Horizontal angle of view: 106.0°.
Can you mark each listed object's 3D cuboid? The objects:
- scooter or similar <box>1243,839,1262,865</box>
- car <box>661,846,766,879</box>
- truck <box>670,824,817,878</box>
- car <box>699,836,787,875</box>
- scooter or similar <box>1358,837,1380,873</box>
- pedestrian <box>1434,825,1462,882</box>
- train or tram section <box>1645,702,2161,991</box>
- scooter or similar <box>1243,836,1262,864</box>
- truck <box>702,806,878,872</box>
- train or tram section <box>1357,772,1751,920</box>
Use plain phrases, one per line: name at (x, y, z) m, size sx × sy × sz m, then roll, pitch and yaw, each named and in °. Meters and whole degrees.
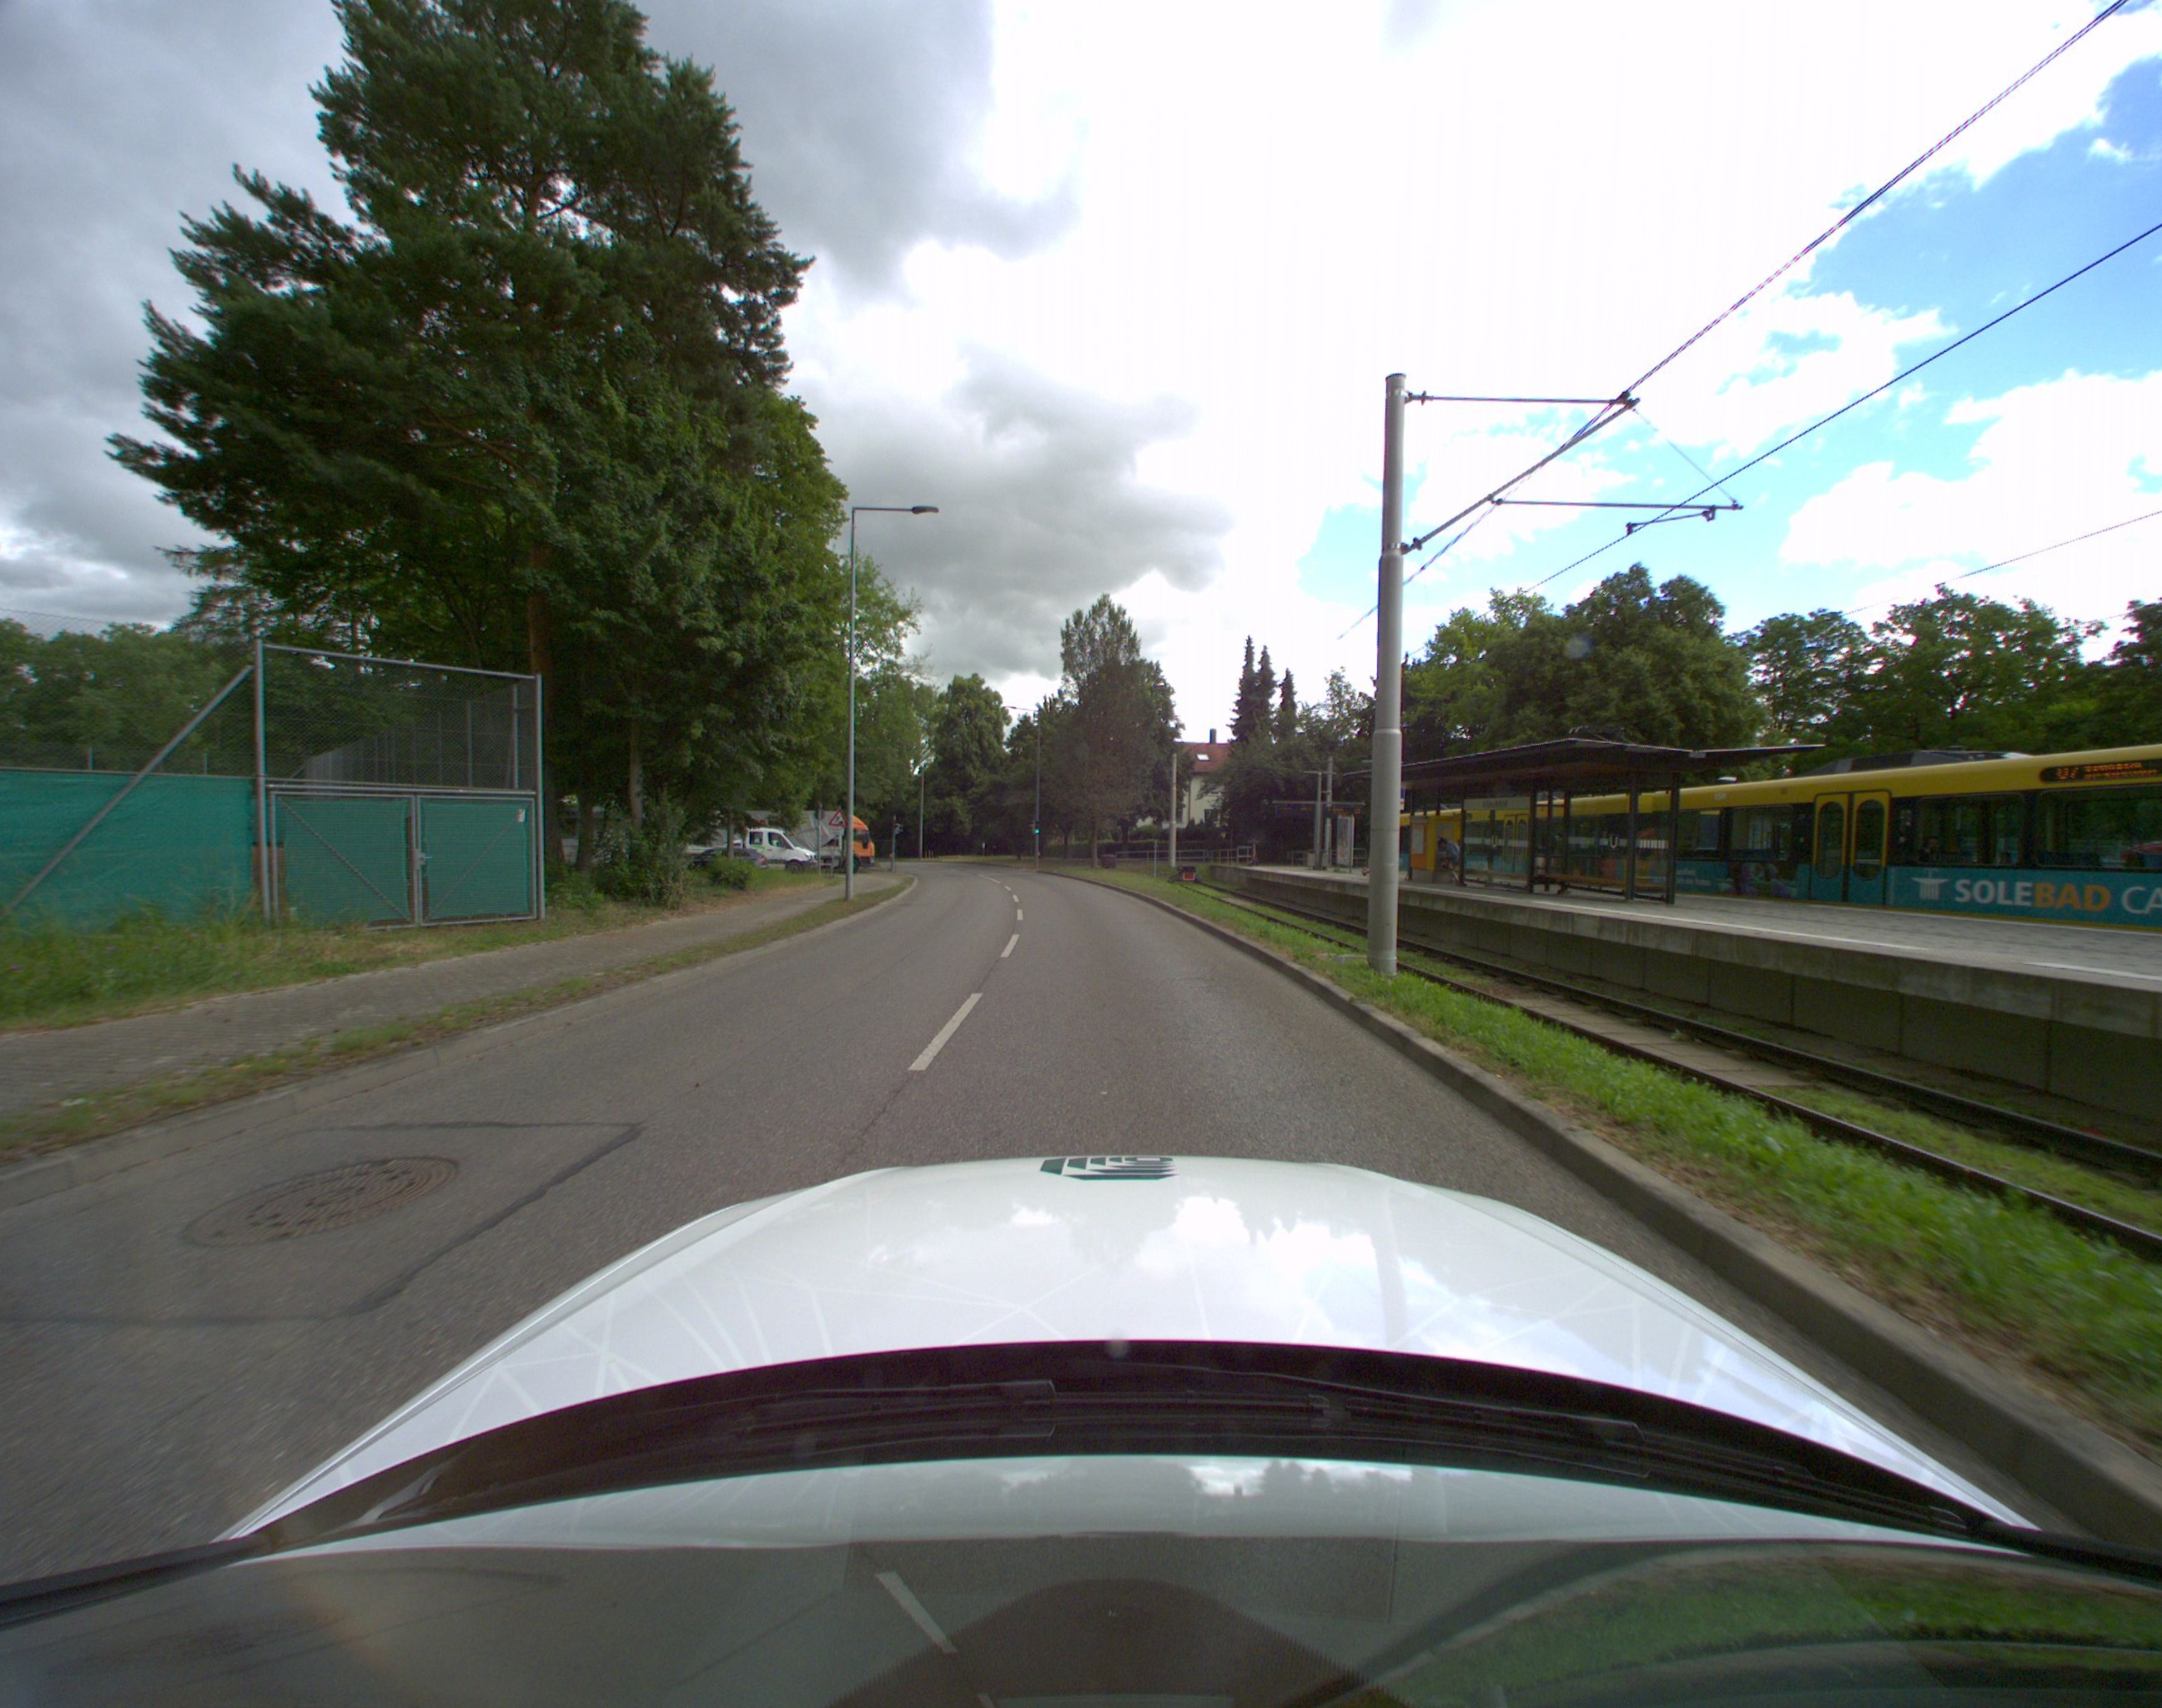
scooter or similar at (8.608, -0.098, 40.901) m, size 0.430 × 1.253 × 1.249 m, roll 0°, pitch -1°, yaw -13°
car at (-15.738, 0.402, 35.026) m, size 4.004 × 1.327 × 1.704 m, roll 1°, pitch -2°, yaw -23°
truck at (-16.305, -0.083, 39.793) m, size 6.401 × 2.416 × 2.111 m, roll 1°, pitch -1°, yaw -17°
car at (-17.687, 0.069, 42.793) m, size 3.996 × 1.909 × 1.772 m, roll 2°, pitch 0°, yaw -17°
scooter or similar at (10.113, 0.033, 28.612) m, size 0.367 × 1.242 × 1.145 m, roll 0°, pitch 1°, yaw -1°
pedestrian at (10.359, -0.022, 23.004) m, size 0.618 × 1.573 × 0.668 m, roll 0°, pitch 0°, yaw 16°
train or tram section at (15.339, -0.058, 10.260) m, size 2.804 × 3.736 × 19.511 m, roll 2°, pitch 1°, yaw 0°
scooter or similar at (8.075, -0.174, 38.433) m, size 0.430 × 1.253 × 1.250 m, roll 0°, pitch -1°, yaw -9°
truck at (-16.389, -0.785, 46.604) m, size 9.246 × 3.531 × 2.552 m, roll 0°, pitch -1°, yaw -15°
train or tram section at (15.096, -0.351, 30.010) m, size 2.805 × 3.588 × 19.506 m, roll 2°, pitch 1°, yaw -1°
